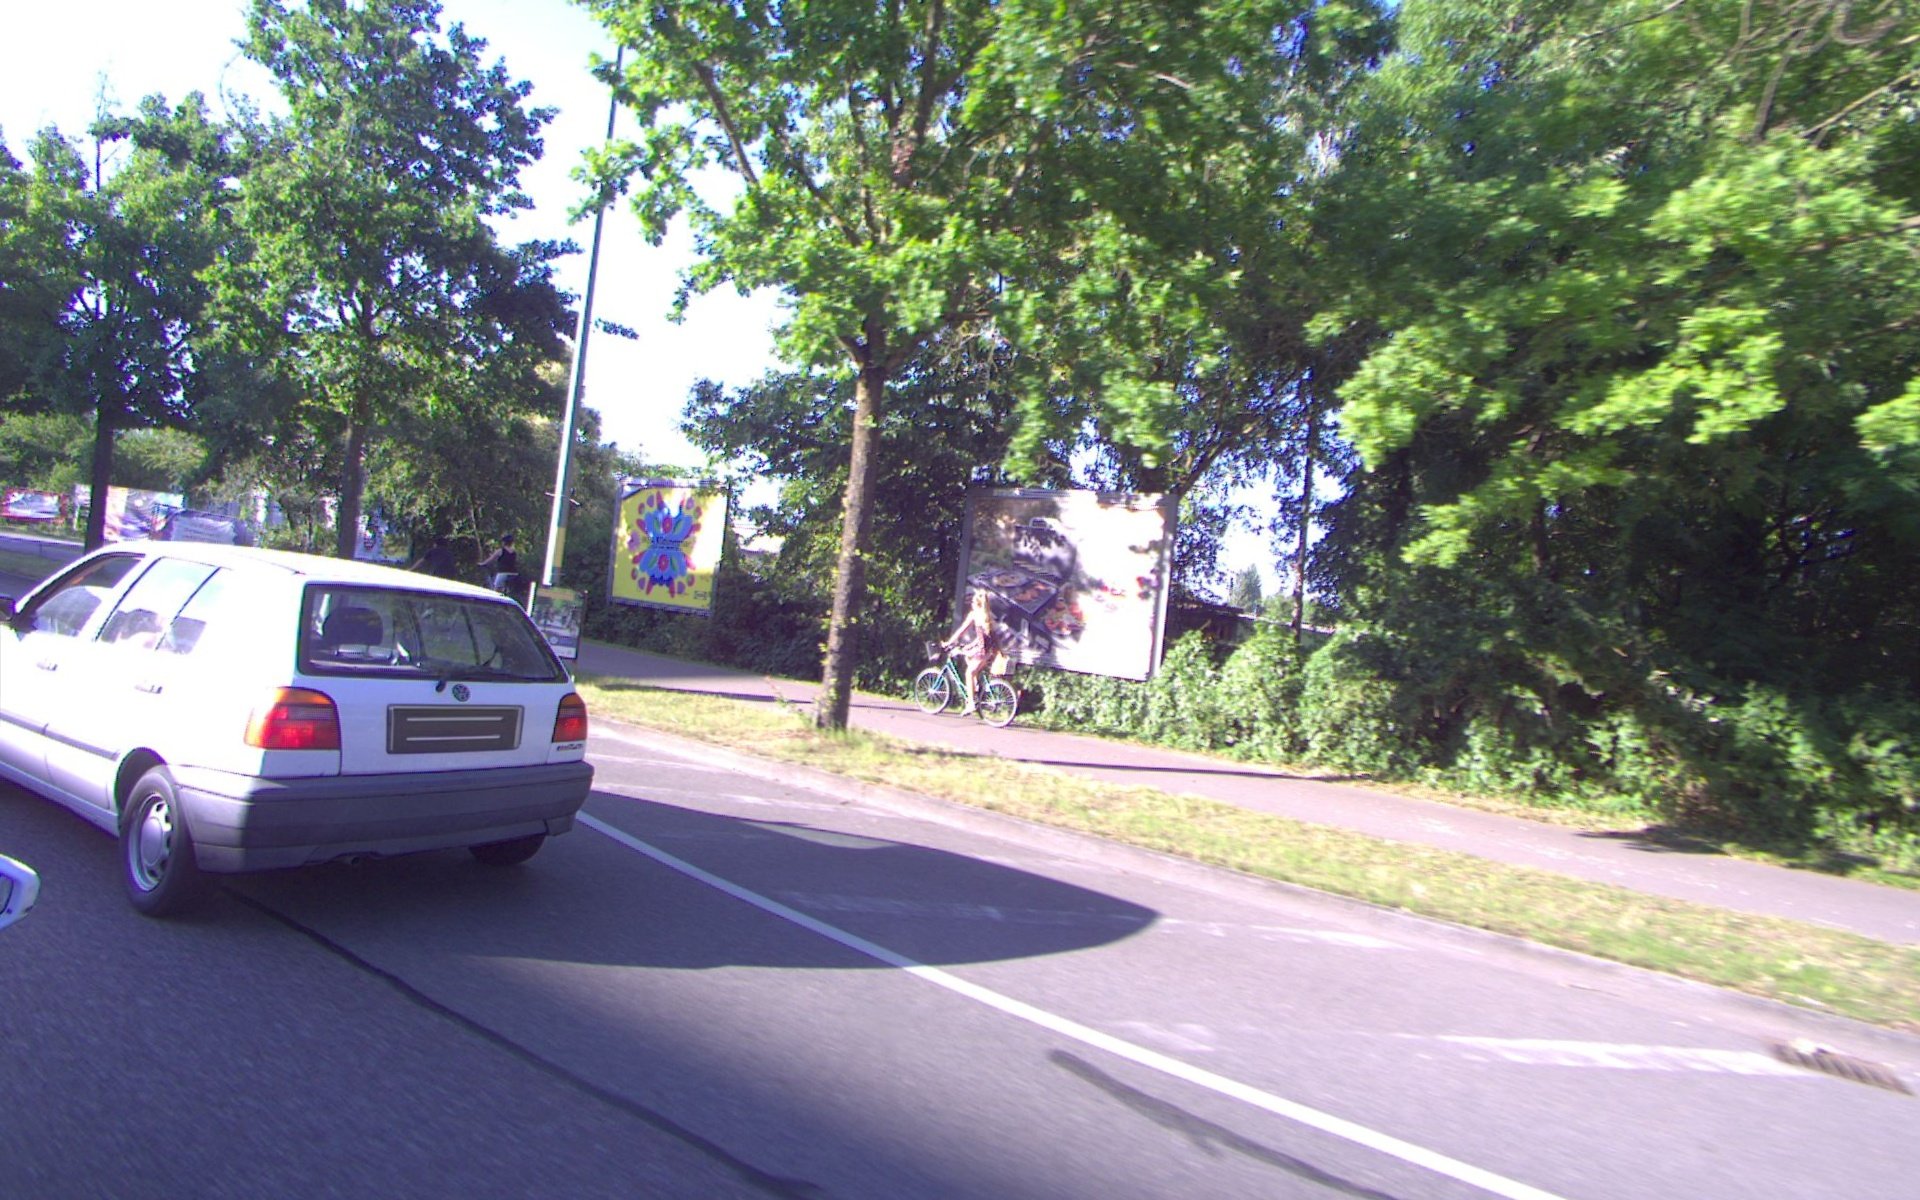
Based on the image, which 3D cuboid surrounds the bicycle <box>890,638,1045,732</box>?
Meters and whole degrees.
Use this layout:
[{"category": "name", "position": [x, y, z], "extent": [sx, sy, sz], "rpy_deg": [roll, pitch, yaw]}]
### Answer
[{"category": "bicycle", "position": [0.080, 1.150, 13.861], "extent": [2.025, 0.985, 0.617], "rpy_deg": [6, 0, 34]}]

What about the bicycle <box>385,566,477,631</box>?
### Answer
[{"category": "bicycle", "position": [-9.641, -0.036, 18.306], "extent": [1.792, 0.985, 0.617], "rpy_deg": [6, 0, 33]}]

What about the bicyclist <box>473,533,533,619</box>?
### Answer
[{"category": "bicyclist", "position": [-9.134, -0.471, 20.104], "extent": [0.834, 1.597, 0.604], "rpy_deg": [7, 0, 33]}]

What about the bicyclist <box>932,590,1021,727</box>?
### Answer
[{"category": "bicyclist", "position": [0.231, 0.794, 13.773], "extent": [0.834, 1.754, 0.604], "rpy_deg": [7, 0, 33]}]

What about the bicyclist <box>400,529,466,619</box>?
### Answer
[{"category": "bicyclist", "position": [-9.587, -0.464, 18.302], "extent": [0.834, 1.520, 0.613], "rpy_deg": [7, 0, 33]}]

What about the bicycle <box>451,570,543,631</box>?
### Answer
[{"category": "bicycle", "position": [-9.309, 0.003, 20.199], "extent": [2.025, 0.985, 0.617], "rpy_deg": [6, 0, 34]}]

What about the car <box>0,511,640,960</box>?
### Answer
[{"category": "car", "position": [-3.722, 0.424, 5.134], "extent": [3.970, 1.414, 1.615], "rpy_deg": [6, -3, 31]}]
